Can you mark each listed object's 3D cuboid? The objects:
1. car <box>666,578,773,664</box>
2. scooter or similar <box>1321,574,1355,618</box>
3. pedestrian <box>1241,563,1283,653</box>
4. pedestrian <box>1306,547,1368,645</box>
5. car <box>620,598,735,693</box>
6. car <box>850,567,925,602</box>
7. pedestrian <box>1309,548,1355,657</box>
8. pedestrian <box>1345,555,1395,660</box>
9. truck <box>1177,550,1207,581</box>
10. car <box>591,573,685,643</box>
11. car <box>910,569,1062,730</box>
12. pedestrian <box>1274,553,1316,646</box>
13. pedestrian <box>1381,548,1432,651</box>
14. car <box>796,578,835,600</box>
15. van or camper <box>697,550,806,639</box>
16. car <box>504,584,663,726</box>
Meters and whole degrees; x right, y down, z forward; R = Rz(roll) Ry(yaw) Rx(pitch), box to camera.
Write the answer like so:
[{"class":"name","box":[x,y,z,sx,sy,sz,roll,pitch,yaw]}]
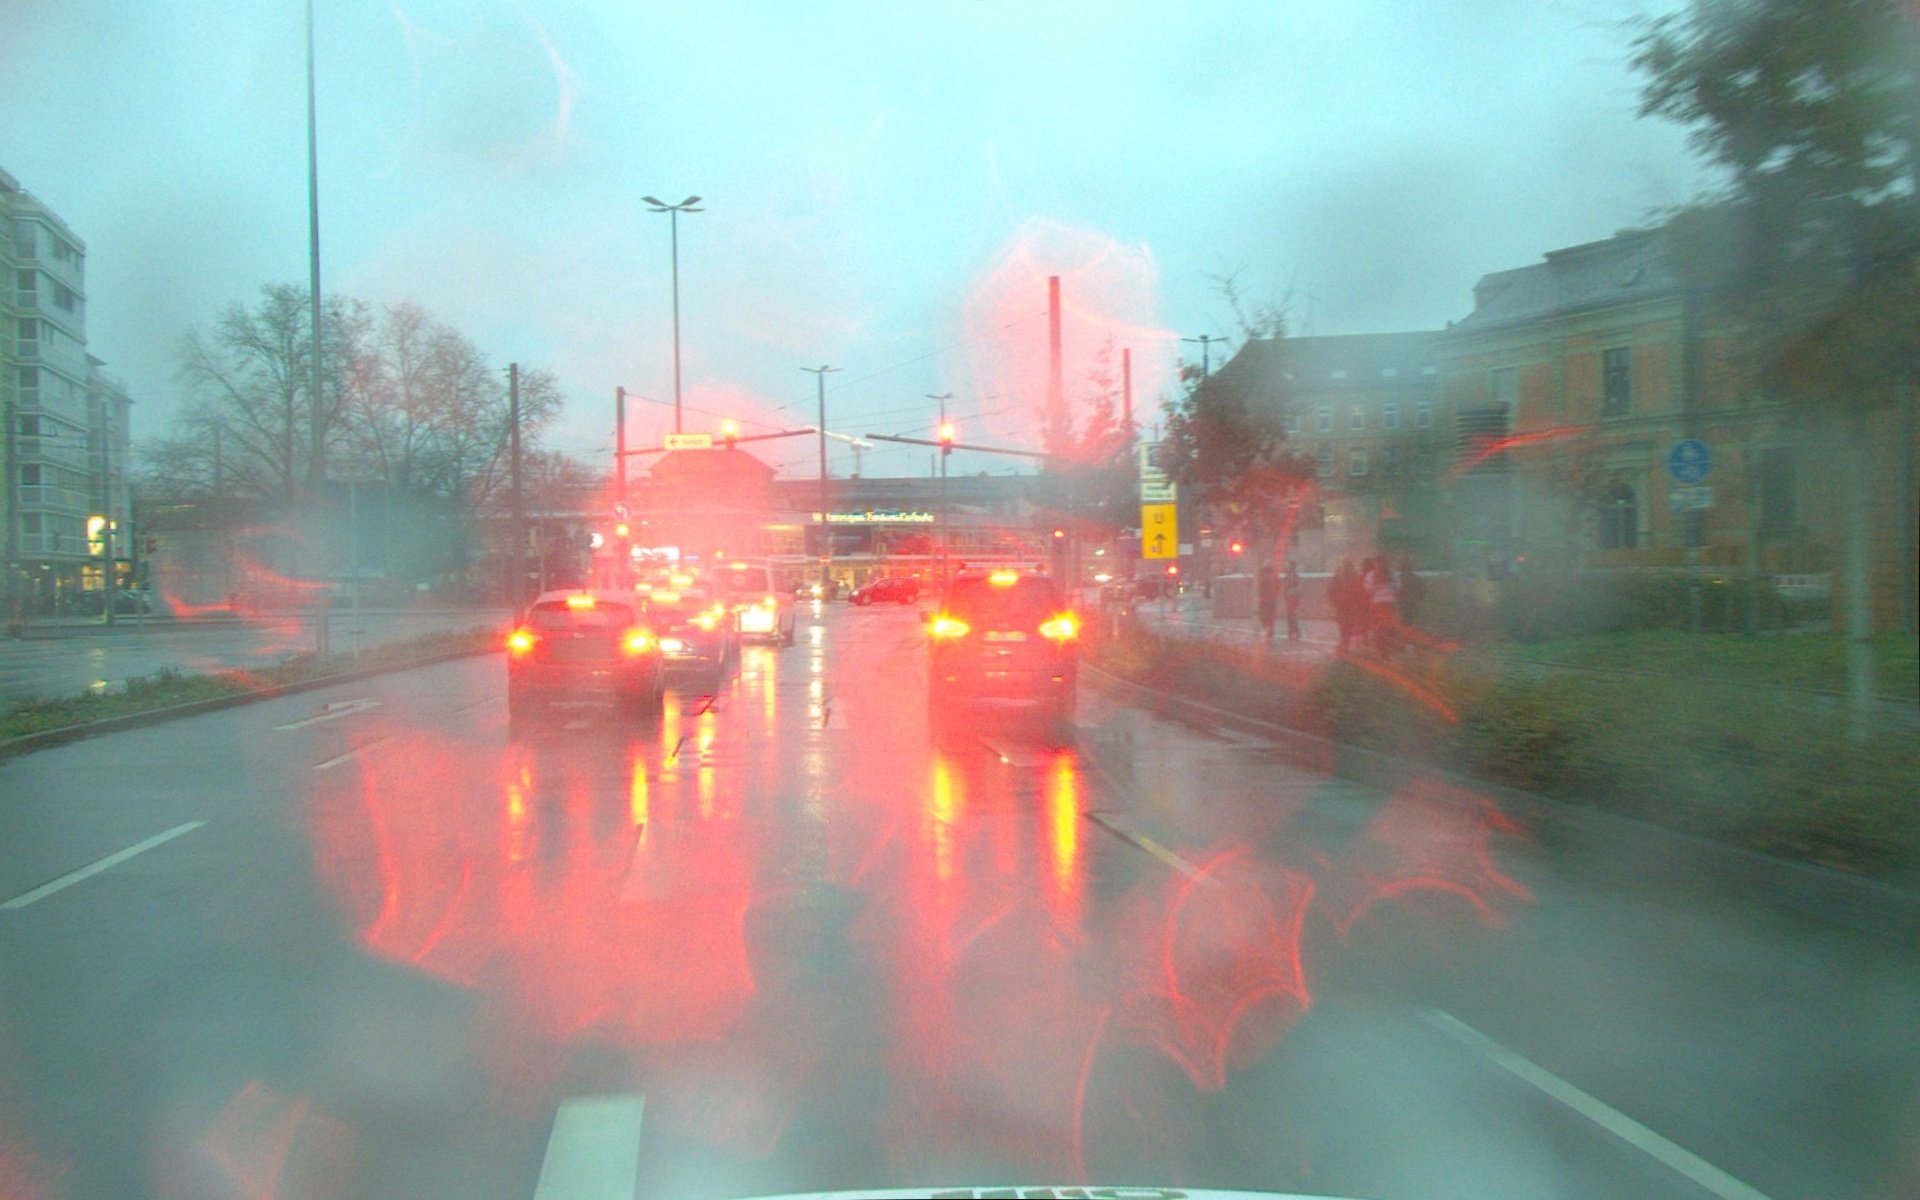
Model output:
[{"class":"car","box":[-4.917,0.384,34.357,1.750,1.628,4.539,1,0,-3]},{"class":"scooter or similar","box":[10.943,-0.116,47.877,0.503,1.235,1.379,-1,0,34]},{"class":"pedestrian","box":[6.804,0.163,37.259,0.791,1.963,0.760,1,3,23]},{"class":"pedestrian","box":[7.125,-0.084,31.270,0.840,1.822,0.743,-1,0,-25]},{"class":"car","box":[-4.691,0.713,27.917,1.627,1.428,4.115,1,0,-6]},{"class":"car","box":[-4.039,-0.879,91.659,3.916,1.802,1.995,-2,1,-11]},{"class":"pedestrian","box":[6.355,0.041,28.255,0.572,1.812,0.769,-3,0,23]},{"class":"pedestrian","box":[6.931,0.123,27.947,0.654,1.716,0.612,-3,2,23]},{"class":"truck","box":[21.231,-3.129,151.156,1.951,2.738,5.119,-1,1,16]},{"class":"car","box":[-8.654,0.184,44.764,1.846,1.803,3.999,-1,1,-1]},{"class":"car","box":[0.334,0.525,21.128,1.741,1.831,4.425,0,1,1]},{"class":"pedestrian","box":[7.499,-0.024,37.019,0.791,2.048,0.760,1,3,23]},{"class":"pedestrian","box":[7.590,-0.007,28.086,0.703,1.717,0.760,-1,0,23]},{"class":"car","box":[-9.935,-0.766,113.679,1.774,1.472,4.004,-1,1,8]},{"class":"van or camper","box":[-5.303,-0.151,42.722,2.156,2.146,4.987,0,0,0]},{"class":"car","box":[-4.532,0.605,20.357,1.670,1.507,3.863,2,1,-10]}]
